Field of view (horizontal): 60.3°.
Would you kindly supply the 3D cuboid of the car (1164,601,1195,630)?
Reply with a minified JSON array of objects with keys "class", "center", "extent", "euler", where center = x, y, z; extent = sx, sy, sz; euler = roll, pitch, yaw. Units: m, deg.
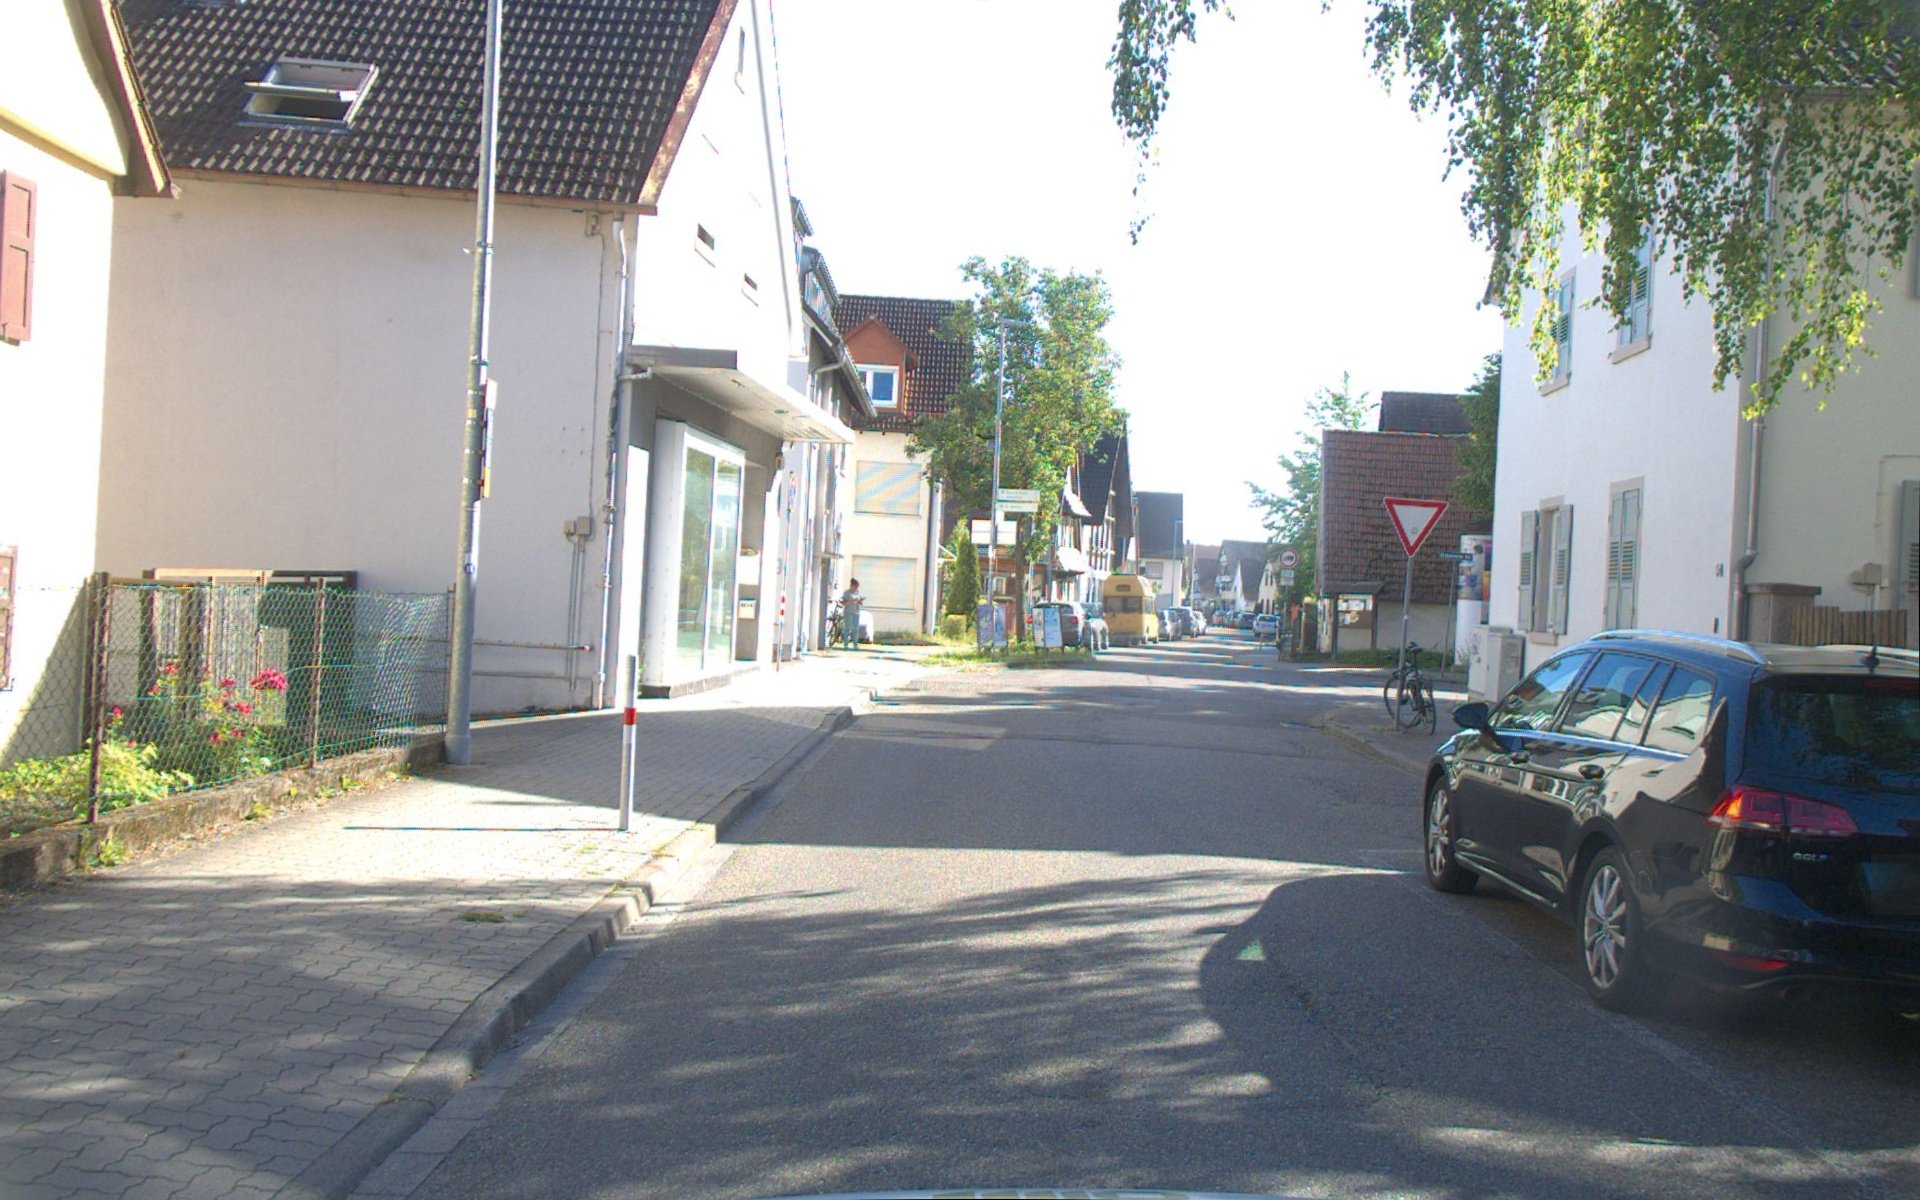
[{"class":"car","center":[12.021,0.830,90.390],"extent":[1.554,1.468,3.617],"euler":[3,0,9]}]

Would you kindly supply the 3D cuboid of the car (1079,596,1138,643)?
[{"class":"car","center":[5.734,0.766,63.416],"extent":[1.768,1.650,3.884],"euler":[3,0,12]}]

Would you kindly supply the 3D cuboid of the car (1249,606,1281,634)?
[{"class":"car","center":[20.962,1.373,113.893],"extent":[1.931,1.743,3.998],"euler":[3,0,9]}]

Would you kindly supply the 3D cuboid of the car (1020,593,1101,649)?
[{"class":"car","center":[3.113,0.649,50.338],"extent":[1.828,1.532,4.111],"euler":[3,0,12]}]

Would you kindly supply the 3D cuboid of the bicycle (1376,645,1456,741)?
[{"class":"bicycle","center":[5.845,1.170,21.276],"extent":[0.426,1.098,1.889],"euler":[2,0,-2]}]

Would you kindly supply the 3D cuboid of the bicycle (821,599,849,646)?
[{"class":"bicycle","center":[-2.909,0.529,38.655],"extent":[0.414,1.071,1.382],"euler":[3,-1,3]}]

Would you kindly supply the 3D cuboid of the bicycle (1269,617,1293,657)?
[{"class":"bicycle","center":[9.911,1.143,51.047],"extent":[0.424,1.197,1.829],"euler":[3,0,19]}]

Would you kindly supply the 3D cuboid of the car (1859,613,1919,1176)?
[{"class":"car","center":[3.445,0.850,2.471],"extent":[1.771,1.461,4.285],"euler":[3,1,-1]}]

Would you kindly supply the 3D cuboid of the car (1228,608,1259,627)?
[{"class":"car","center":[26.780,1.682,156.284],"extent":[1.934,1.610,3.993],"euler":[3,0,-3]}]

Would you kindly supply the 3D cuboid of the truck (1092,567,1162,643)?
[{"class":"truck","center":[7.006,0.252,68.772],"extent":[2.220,2.918,5.787],"euler":[3,0,12]}]

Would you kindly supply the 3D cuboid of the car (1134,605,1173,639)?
[{"class":"car","center":[9.097,1.004,77.652],"extent":[1.610,1.457,3.617],"euler":[3,0,9]}]

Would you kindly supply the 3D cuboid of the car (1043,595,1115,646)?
[{"class":"car","center":[3.971,0.690,54.649],"extent":[1.768,1.532,4.111],"euler":[3,0,12]}]

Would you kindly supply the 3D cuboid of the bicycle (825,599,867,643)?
[{"class":"bicycle","center":[-2.885,0.554,42.075],"extent":[0.566,1.071,2.037],"euler":[2,-1,10]}]

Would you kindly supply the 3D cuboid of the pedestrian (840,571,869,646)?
[{"class":"pedestrian","center":[-2.469,0.198,38.798],"extent":[0.473,1.722,0.557],"euler":[3,-2,7]}]

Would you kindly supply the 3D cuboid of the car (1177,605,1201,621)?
[{"class":"car","center":[25.270,1.427,182.536],"extent":[1.934,1.610,3.993],"euler":[3,0,-3]}]

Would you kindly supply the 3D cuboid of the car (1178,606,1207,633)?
[{"class":"car","center":[13.742,1.165,97.719],"extent":[1.554,1.468,3.617],"euler":[3,0,9]}]

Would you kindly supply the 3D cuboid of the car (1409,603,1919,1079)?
[{"class":"car","center":[3.444,0.823,7.540],"extent":[1.770,1.461,4.287],"euler":[3,1,3]}]
